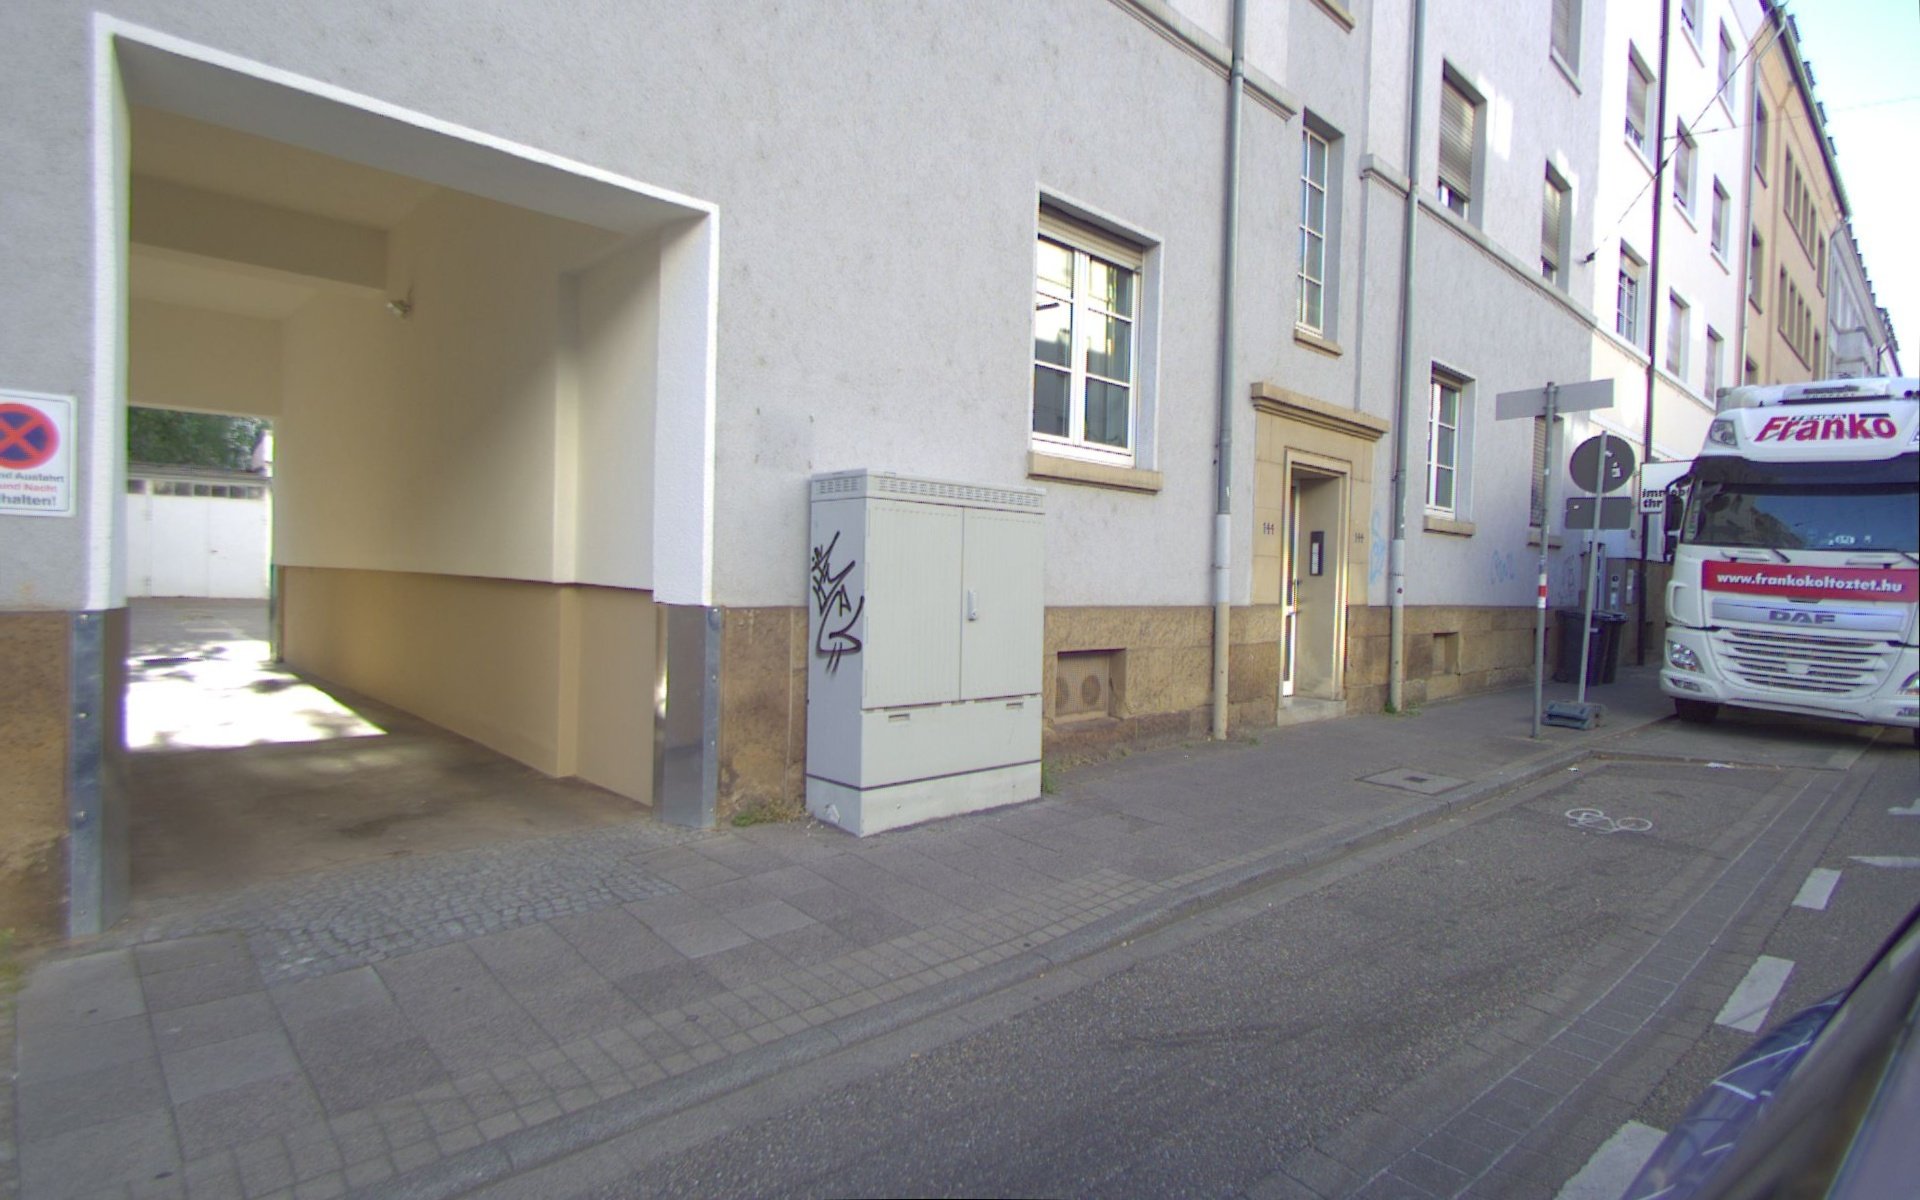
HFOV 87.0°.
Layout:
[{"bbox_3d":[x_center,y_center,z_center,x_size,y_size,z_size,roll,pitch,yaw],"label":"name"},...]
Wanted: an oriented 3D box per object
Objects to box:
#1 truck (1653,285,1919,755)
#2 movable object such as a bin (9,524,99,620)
[{"bbox_3d":[12.558,-0.855,13.680,11.579,4.290,2.697,-1,3,-43],"label":"truck"},{"bbox_3d":[-15.115,-0.454,16.918,1.091,1.512,1.328,0,0,-41],"label":"movable object such as a bin"}]
